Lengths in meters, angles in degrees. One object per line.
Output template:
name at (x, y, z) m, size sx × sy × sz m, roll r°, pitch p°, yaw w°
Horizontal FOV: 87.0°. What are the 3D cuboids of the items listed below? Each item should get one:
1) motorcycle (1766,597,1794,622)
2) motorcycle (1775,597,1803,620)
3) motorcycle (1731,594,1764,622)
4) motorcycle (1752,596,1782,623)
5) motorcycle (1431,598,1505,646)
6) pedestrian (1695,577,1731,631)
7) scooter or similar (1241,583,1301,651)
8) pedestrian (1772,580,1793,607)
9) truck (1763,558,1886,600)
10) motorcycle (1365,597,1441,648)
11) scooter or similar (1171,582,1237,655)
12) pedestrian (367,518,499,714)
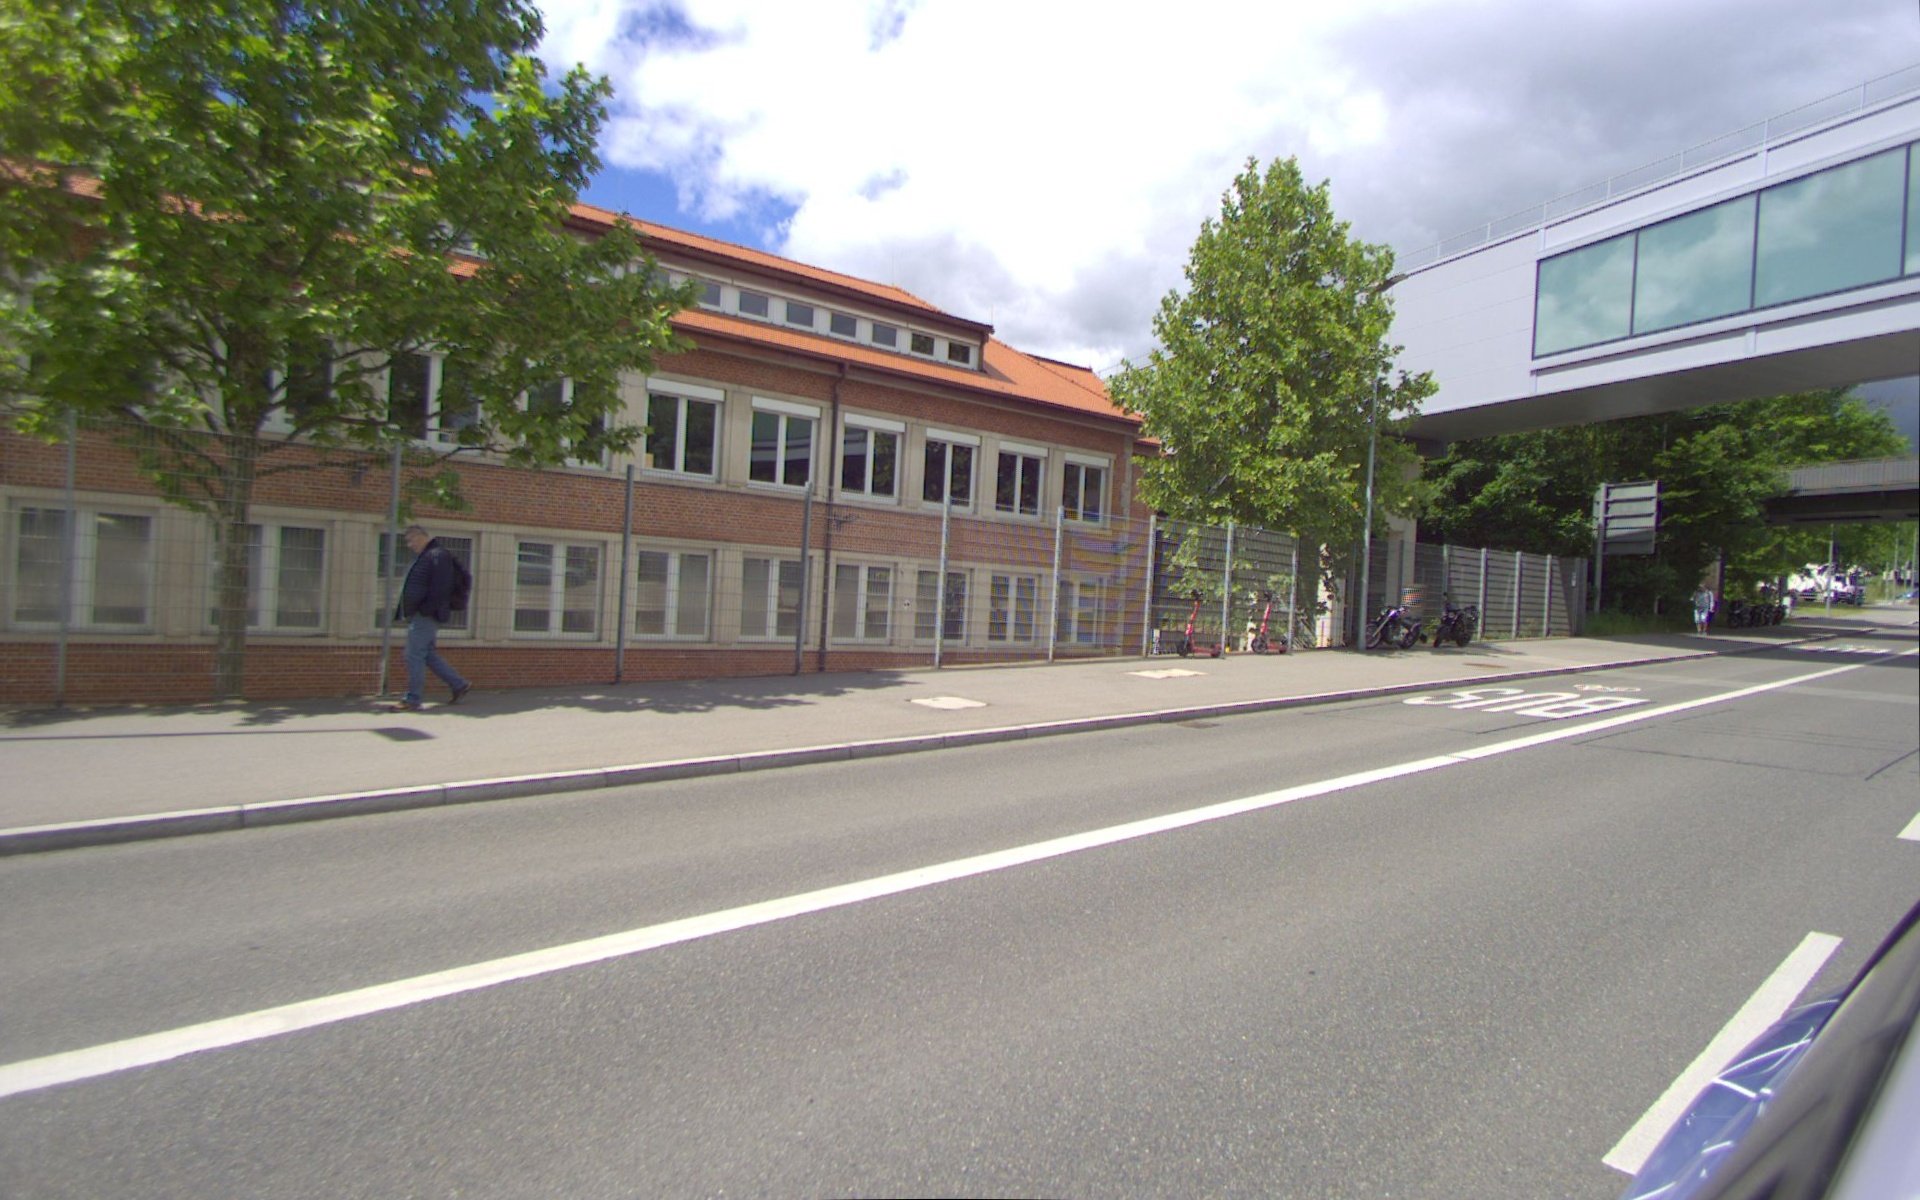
motorcycle at (38.433, 0.436, 47.419) m, size 2.003 × 1.096 × 0.679 m, roll 0°, pitch 2°, yaw -42°
motorcycle at (40.157, 0.407, 49.028) m, size 2.143 × 1.096 × 0.679 m, roll 0°, pitch 2°, yaw -42°
motorcycle at (34.641, 0.345, 44.528) m, size 2.075 × 1.168 × 0.679 m, roll 0°, pitch 2°, yaw -40°
motorcycle at (36.625, 0.406, 45.907) m, size 2.123 × 1.157 × 0.679 m, roll 0°, pitch 2°, yaw -42°
motorcycle at (12.621, 0.522, 25.102) m, size 2.466 × 1.077 × 0.709 m, roll 0°, pitch 4°, yaw -41°
pedestrian at (27.901, 0.138, 37.482) m, size 1.078 × 1.911 × 0.791 m, roll 0°, pitch 2°, yaw -41°
scooter or similar at (6.275, 0.335, 20.408) m, size 1.313 × 1.310 × 0.492 m, roll 0°, pitch 2°, yaw -41°
pedestrian at (57.289, -0.491, 70.513) m, size 0.942 × 1.834 × 0.712 m, roll 2°, pitch 2°, yaw 26°
truck at (87.734, -2.135, 103.062) m, size 2.732 × 4.055 × 10.103 m, roll 1°, pitch 1°, yaw -9°
motorcycle at (10.182, 0.497, 23.227) m, size 2.208 × 1.077 × 0.670 m, roll 0°, pitch 4°, yaw -41°
scooter or similar at (4.571, 0.331, 18.924) m, size 1.313 × 1.310 × 0.492 m, roll 0°, pitch 2°, yaw -41°
pedestrian at (-5.069, 0.119, 9.720) m, size 0.924 × 1.764 × 0.879 m, roll 0°, pitch 3°, yaw -41°
